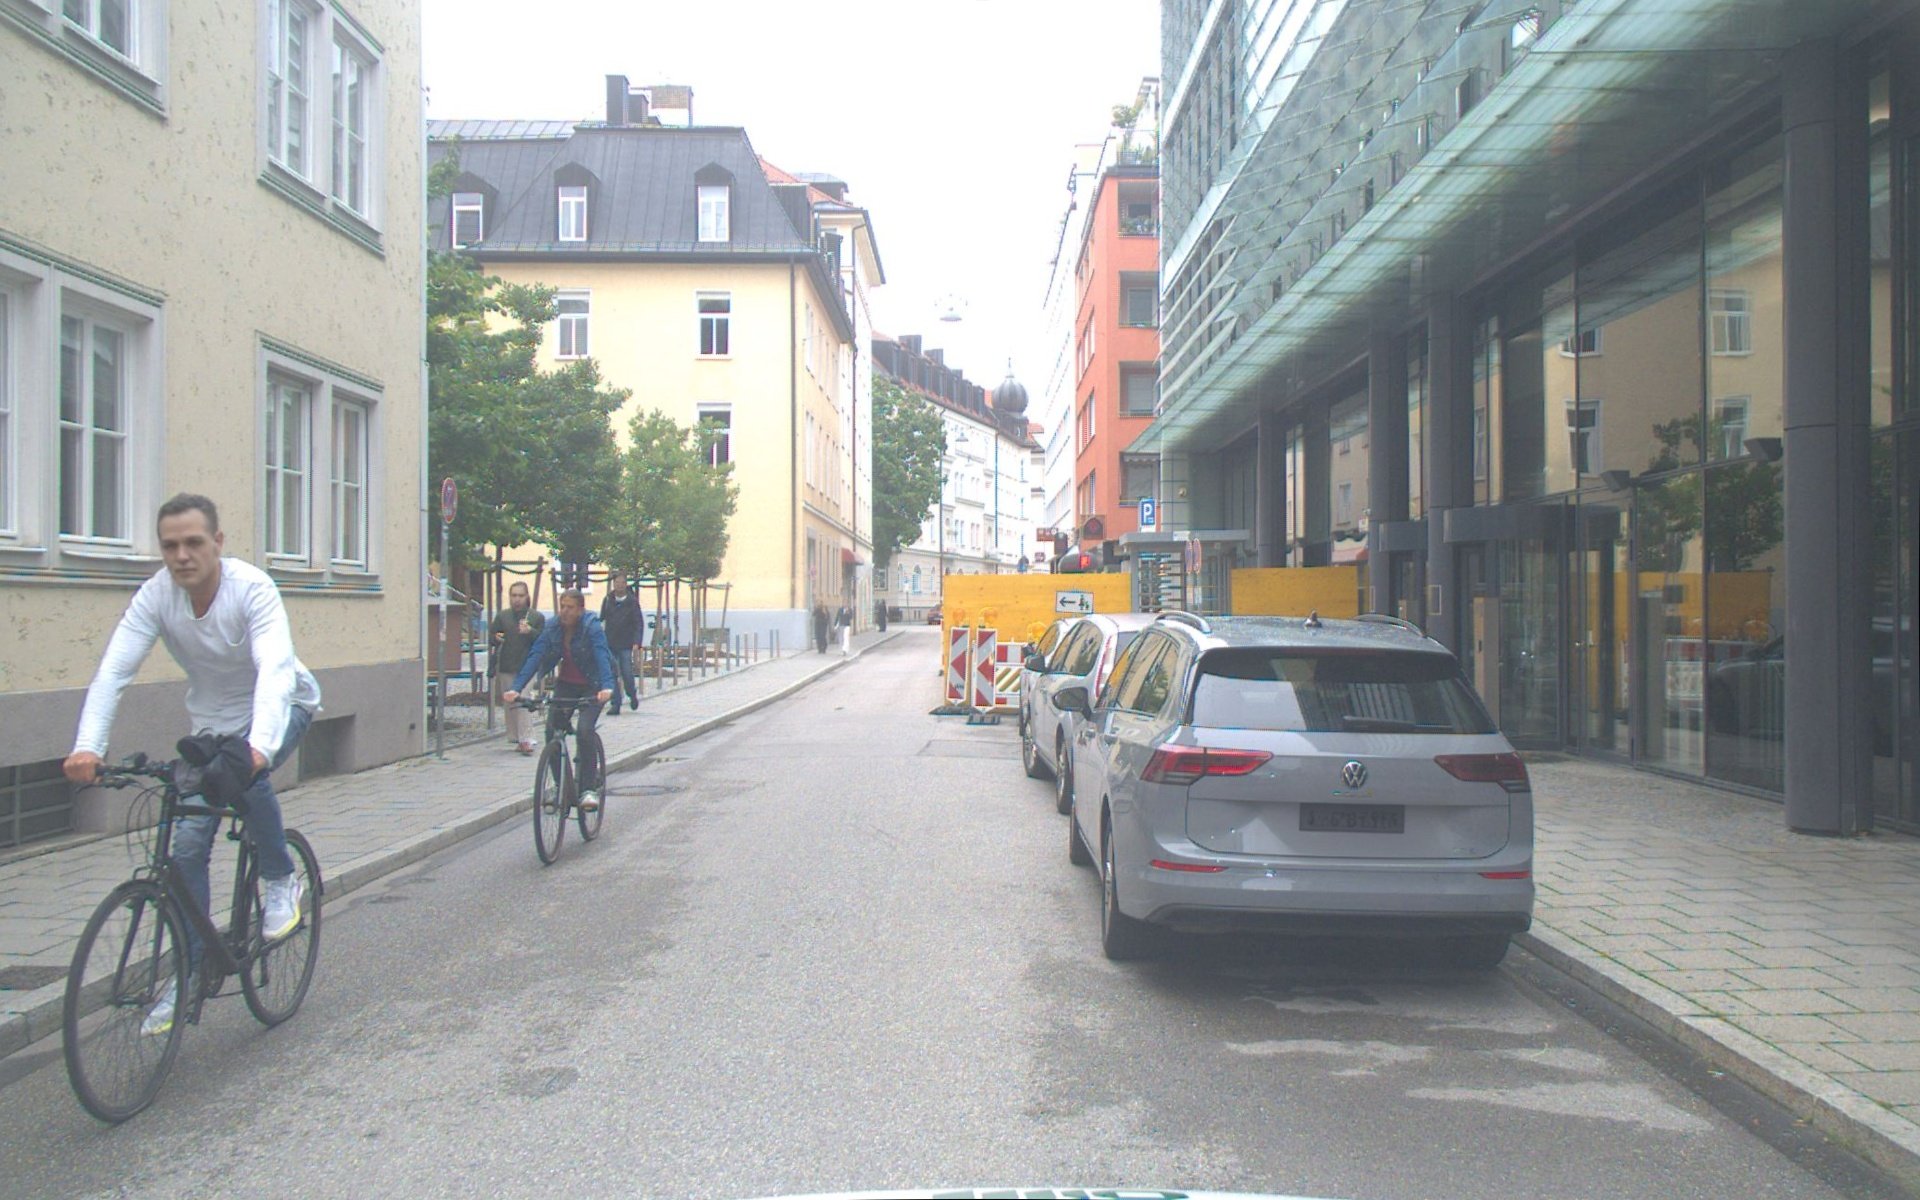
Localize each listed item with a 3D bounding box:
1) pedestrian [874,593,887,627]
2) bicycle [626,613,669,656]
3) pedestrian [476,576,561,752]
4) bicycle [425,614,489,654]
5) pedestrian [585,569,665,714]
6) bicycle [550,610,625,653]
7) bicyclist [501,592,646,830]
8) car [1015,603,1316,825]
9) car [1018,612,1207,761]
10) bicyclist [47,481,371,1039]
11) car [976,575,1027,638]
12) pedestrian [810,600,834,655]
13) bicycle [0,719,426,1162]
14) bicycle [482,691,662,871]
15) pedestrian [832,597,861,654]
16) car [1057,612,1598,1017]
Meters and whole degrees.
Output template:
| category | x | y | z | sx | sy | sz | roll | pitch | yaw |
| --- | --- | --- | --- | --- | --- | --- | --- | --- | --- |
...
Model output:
| category | x | y | z | sx | sy | sz | roll | pitch | yaw |
| --- | --- | --- | --- | --- | --- | --- | --- | --- | --- |
| pedestrian | -3.990 | 0.524 | 83.482 | 0.621 | 1.704 | 0.517 | 0 | 0 | 0 |
| bicycle | -8.591 | 0.933 | 45.519 | 0.499 | 1.164 | 2.054 | 1 | 0 | 8 |
| pedestrian | -4.363 | 0.622 | 16.397 | 0.634 | 1.706 | 0.723 | 1 | -1 | -1 |
| bicycle | -14.386 | 0.971 | 47.314 | 1.621 | 1.088 | 0.598 | 1 | 0 | 4 |
| pedestrian | -4.548 | 0.560 | 22.512 | 0.850 | 1.914 | 1.134 | 1 | -1 | -1 |
| bicycle | -10.715 | 0.904 | 47.603 | 2.000 | 1.218 | 0.570 | 0 | 0 | 7 |
| bicyclist | -2.363 | 0.657 | 10.191 | 0.693 | 1.395 | 0.813 | -1 | 0 | -1 |
| car | 1.488 | 0.803 | 13.470 | 1.673 | 1.493 | 4.234 | 1 | -1 | -3 |
| car | 1.587 | 0.881 | 18.629 | 1.673 | 1.439 | 4.509 | 1 | -1 | 0 |
| bicyclist | -2.422 | 0.483 | 5.430 | 0.646 | 1.672 | 0.895 | -1 | 0 | 0 |
| car | 1.743 | 0.264 | 70.760 | 1.953 | 2.581 | 4.974 | 1 | 0 | -1 |
| pedestrian | -4.258 | 0.858 | 51.135 | 0.656 | 1.677 | 0.761 | 1 | -1 | -1 |
| bicycle | -2.420 | 0.994 | 5.482 | 0.648 | 1.057 | 2.004 | -1 | 0 | 0 |
| bicycle | -2.366 | 1.078 | 10.294 | 0.693 | 0.921 | 1.809 | -1 | 0 | 0 |
| pedestrian | -3.497 | 0.789 | 51.024 | 0.822 | 1.730 | 0.803 | 1 | -1 | -1 |
| car | 1.463 | 0.794 | 8.175 | 1.673 | 1.457 | 4.328 | 0 | 0 | -1 |
